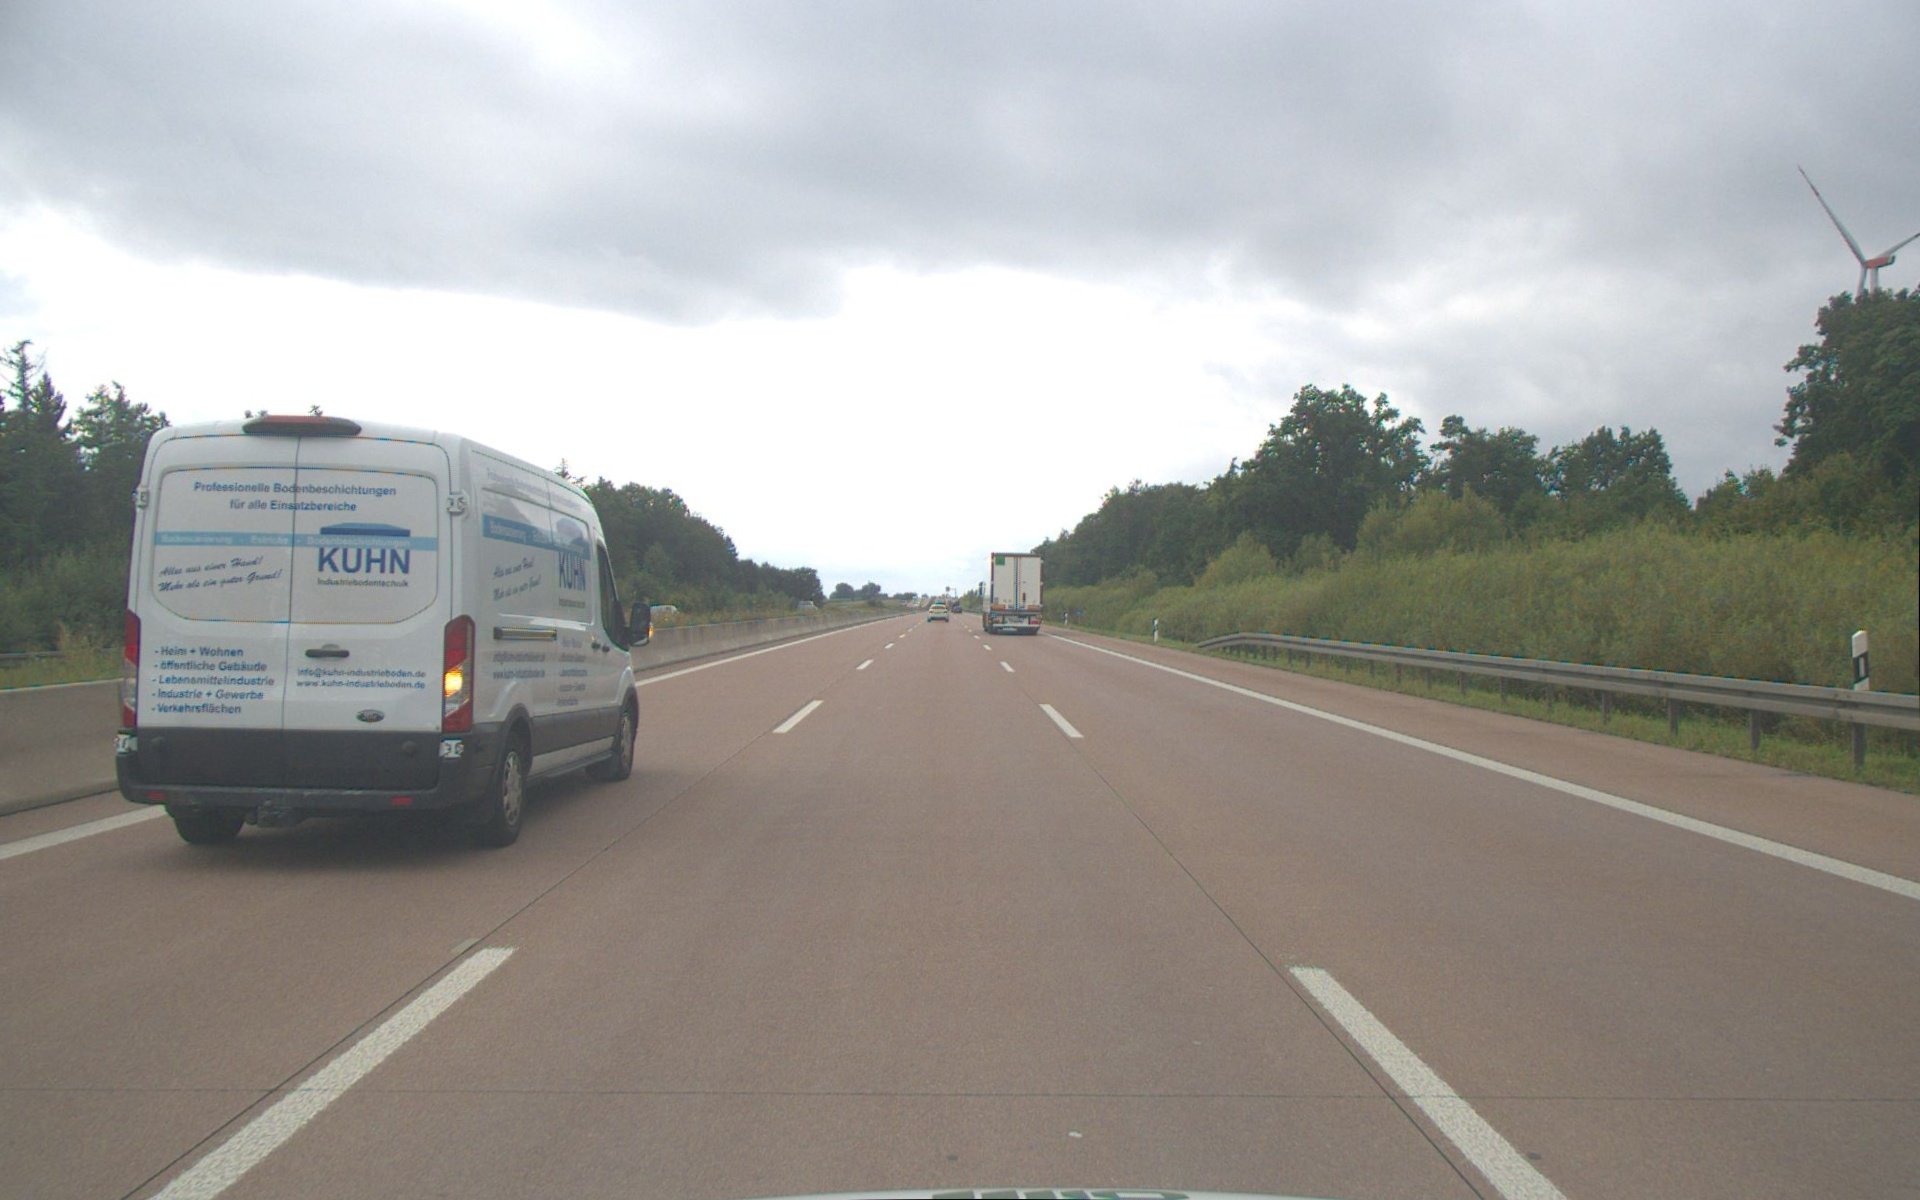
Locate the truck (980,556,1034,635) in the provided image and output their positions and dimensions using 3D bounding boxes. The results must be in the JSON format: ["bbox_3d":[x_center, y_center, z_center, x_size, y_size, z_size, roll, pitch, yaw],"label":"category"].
[{"bbox_3d":[2.634,-0.237,94.807,2.862,4.369,5.334,0,0,-1],"label":"truck"}]

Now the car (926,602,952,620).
[{"bbox_3d":[-1.826,0.924,145.108,2.119,1.476,4.719,2,0,1],"label":"car"}]

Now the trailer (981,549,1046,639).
[{"bbox_3d":[2.688,-0.253,87.122,2.862,4.369,13.611,0,0,0],"label":"trailer"}]

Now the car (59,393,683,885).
[{"bbox_3d":[-3.655,0.192,12.169,2.094,2.551,7.130,0,0,-1],"label":"car"}]
